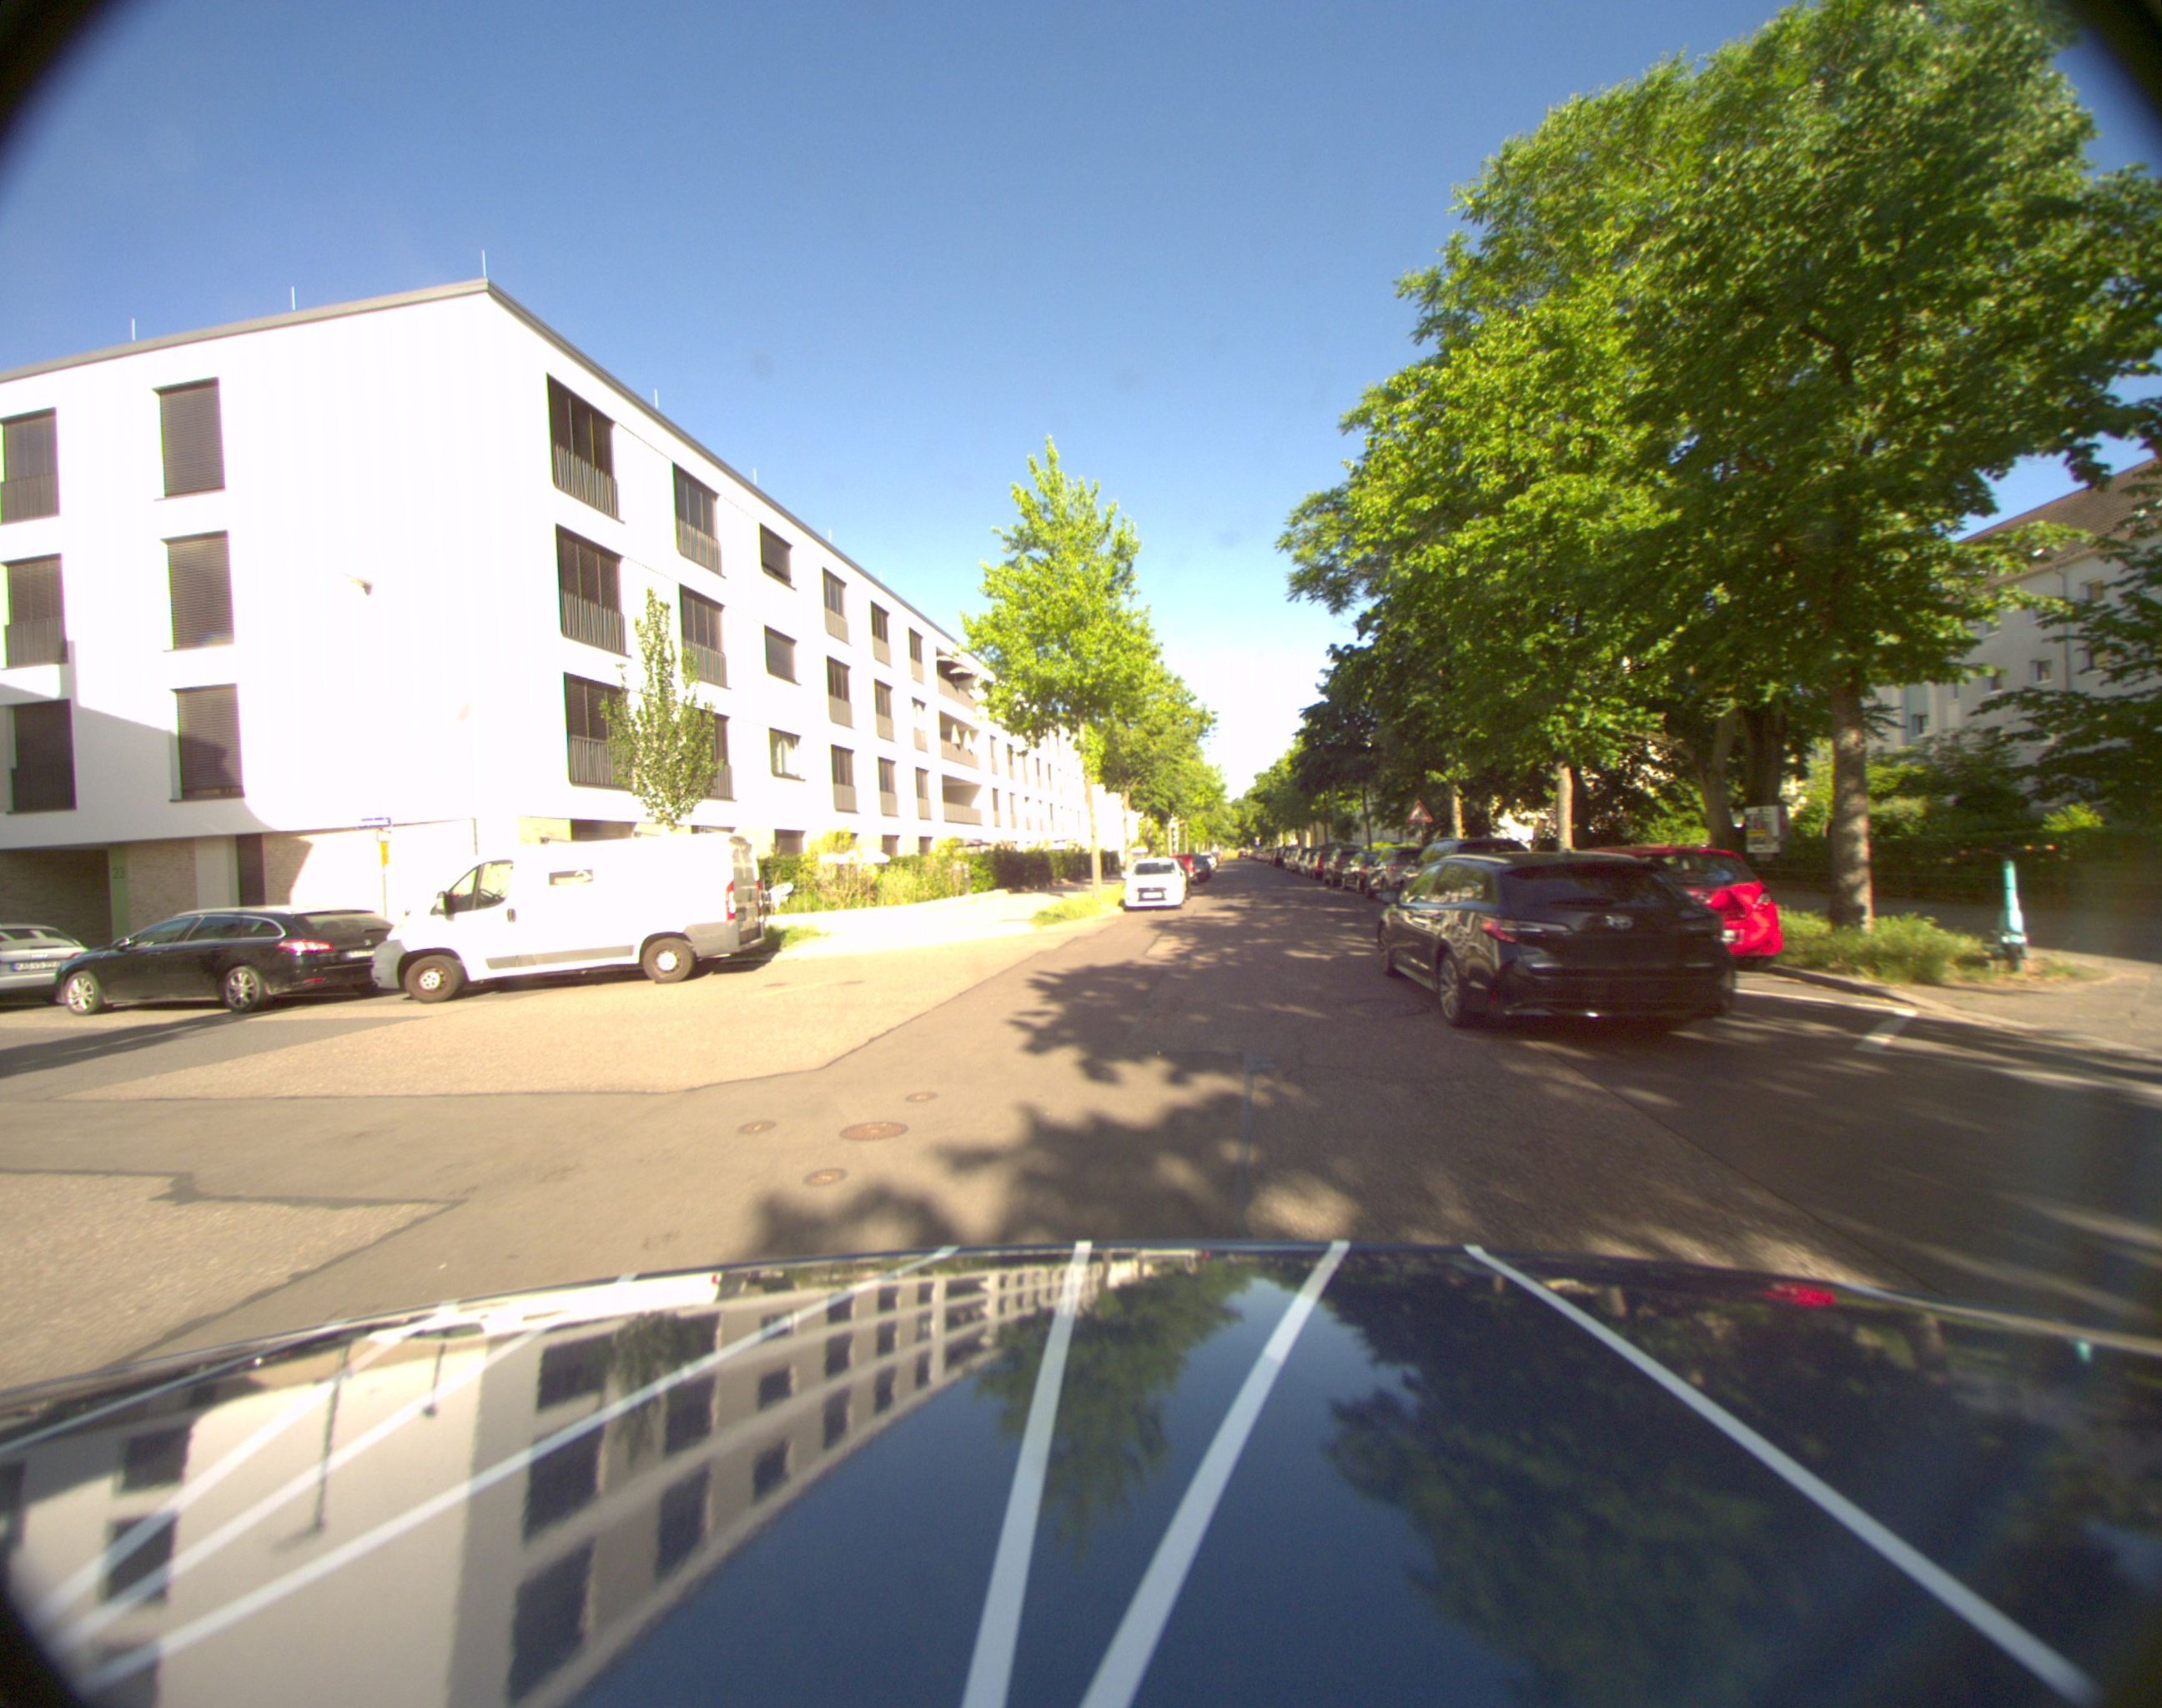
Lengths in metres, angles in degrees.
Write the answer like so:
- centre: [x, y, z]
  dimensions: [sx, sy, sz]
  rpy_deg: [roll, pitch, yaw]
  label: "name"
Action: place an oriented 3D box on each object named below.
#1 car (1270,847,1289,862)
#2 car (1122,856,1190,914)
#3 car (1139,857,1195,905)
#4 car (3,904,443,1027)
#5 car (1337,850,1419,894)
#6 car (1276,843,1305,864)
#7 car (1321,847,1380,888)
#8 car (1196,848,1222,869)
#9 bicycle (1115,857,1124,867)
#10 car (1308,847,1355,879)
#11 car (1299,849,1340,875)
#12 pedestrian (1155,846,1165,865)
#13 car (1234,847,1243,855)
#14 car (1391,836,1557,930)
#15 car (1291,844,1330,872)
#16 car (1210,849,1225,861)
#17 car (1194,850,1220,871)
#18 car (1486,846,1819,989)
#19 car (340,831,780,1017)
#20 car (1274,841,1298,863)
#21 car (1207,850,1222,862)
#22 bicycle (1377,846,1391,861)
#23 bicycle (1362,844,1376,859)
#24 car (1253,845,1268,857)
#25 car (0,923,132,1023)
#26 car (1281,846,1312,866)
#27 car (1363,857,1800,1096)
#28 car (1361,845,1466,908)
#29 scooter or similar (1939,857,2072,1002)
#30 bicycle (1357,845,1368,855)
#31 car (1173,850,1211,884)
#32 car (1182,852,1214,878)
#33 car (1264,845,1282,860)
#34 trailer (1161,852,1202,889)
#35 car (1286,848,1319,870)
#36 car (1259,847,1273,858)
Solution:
- centre: [20.885, 0.027, 80.058]
  dimensions: [1.778, 1.462, 4.067]
  rpy_deg: [0, 1, 11]
  label: "car"
- centre: [2.359, 0.886, 23.102]
  dimensions: [1.736, 1.478, 4.012]
  rpy_deg: [-3, 0, 9]
  label: "car"
- centre: [3.206, 0.915, 27.599]
  dimensions: [1.673, 1.442, 4.182]
  rpy_deg: [-5, 0, 10]
  label: "car"
- centre: [-12.823, 1.641, 11.515]
  dimensions: [4.937, 1.461, 2.049]
  rpy_deg: [-3, 0, 9]
  label: "car"
- centre: [10.313, 0.574, 26.709]
  dimensions: [1.788, 1.344, 4.484]
  rpy_deg: [-2, 0, 10]
  label: "car"
- centre: [17.702, -0.029, 64.350]
  dimensions: [1.797, 1.676, 4.529]
  rpy_deg: [-2, 0, 8]
  label: "car"
- centre: [11.224, 0.504, 31.846]
  dimensions: [1.709, 1.568, 4.485]
  rpy_deg: [-2, 0, 12]
  label: "car"
- centre: [11.555, 0.372, 68.188]
  dimensions: [1.900, 1.638, 4.866]
  rpy_deg: [-3, 0, 13]
  label: "car"
- centre: [3.603, 0.729, 71.336]
  dimensions: [0.564, 0.889, 1.611]
  rpy_deg: [-3, 0, 12]
  label: "bicycle"
- centre: [12.693, 0.424, 38.771]
  dimensions: [1.657, 1.496, 4.071]
  rpy_deg: [-2, 0, 10]
  label: "car"
- centre: [13.551, 0.419, 43.439]
  dimensions: [1.657, 1.365, 4.192]
  rpy_deg: [-2, 0, 10]
  label: "car"
- centre: [8.859, 0.156, 85.360]
  dimensions: [0.907, 2.002, 1.007]
  rpy_deg: [-2, 1, 11]
  label: "pedestrian"
- centre: [30.405, -0.515, 146.670]
  dimensions: [1.664, 1.456, 3.450]
  rpy_deg: [-2, 0, 12]
  label: "car"
- centre: [8.136, 0.523, 16.256]
  dimensions: [1.771, 1.678, 4.817]
  rpy_deg: [-2, 0, 10]
  label: "car"
- centre: [14.607, 0.237, 48.612]
  dimensions: [1.845, 1.647, 5.091]
  rpy_deg: [-2, 0, 11]
  label: "car"
- centre: [17.861, 0.160, 99.403]
  dimensions: [1.669, 1.456, 3.539]
  rpy_deg: [-2, 0, 12]
  label: "car"
- centre: [10.312, 0.493, 62.379]
  dimensions: [1.784, 1.509, 4.690]
  rpy_deg: [-3, 0, 7]
  label: "car"
- centre: [7.093, 0.675, 10.078]
  dimensions: [1.859, 1.461, 4.185]
  rpy_deg: [-3, 0, 11]
  label: "car"
- centre: [-7.606, 0.931, 11.783]
  dimensions: [5.058, 2.292, 2.232]
  rpy_deg: [-3, 0, -12]
  label: "car"
- centre: [18.662, -0.210, 69.298]
  dimensions: [1.796, 1.839, 4.870]
  rpy_deg: [-2, 0, 11]
  label: "car"
- centre: [16.687, 0.214, 94.758]
  dimensions: [1.669, 1.456, 3.539]
  rpy_deg: [-2, 0, 12]
  label: "car"
- centre: [22.561, -0.065, 56.557]
  dimensions: [0.573, 1.055, 1.935]
  rpy_deg: [-3, 0, 12]
  label: "bicycle"
- centre: [23.917, -0.220, 63.078]
  dimensions: [0.596, 1.183, 2.262]
  rpy_deg: [-2, 0, 10]
  label: "bicycle"
- centre: [28.708, -0.555, 121.766]
  dimensions: [1.889, 1.797, 3.917]
  rpy_deg: [-3, 0, 7]
  label: "car"
- centre: [-18.832, 1.989, 12.454]
  dimensions: [4.936, 1.420, 1.963]
  rpy_deg: [-3, -1, 10]
  label: "car"
- centre: [16.623, 0.120, 58.747]
  dimensions: [1.796, 1.443, 4.492]
  rpy_deg: [-2, 0, 10]
  label: "car"
- centre: [4.013, 0.803, 7.088]
  dimensions: [1.812, 1.437, 4.369]
  rpy_deg: [-1, 1, 10]
  label: "car"
- centre: [9.200, 0.560, 21.389]
  dimensions: [1.772, 1.522, 4.423]
  rpy_deg: [-3, 0, 12]
  label: "car"
- centre: [9.043, 0.681, 7.483]
  dimensions: [0.555, 1.228, 1.517]
  rpy_deg: [-2, 1, 41]
  label: "scooter or similar"
- centre: [25.541, -0.384, 68.965]
  dimensions: [0.596, 0.911, 1.905]
  rpy_deg: [-2, 0, 10]
  label: "bicycle"
- centre: [6.244, 0.691, 42.371]
  dimensions: [1.795, 1.633, 4.822]
  rpy_deg: [-5, 0, 11]
  label: "car"
- centre: [7.508, 0.673, 48.423]
  dimensions: [1.721, 1.507, 4.348]
  rpy_deg: [-3, 0, 12]
  label: "car"
- centre: [23.132, -0.231, 91.628]
  dimensions: [1.862, 1.718, 4.003]
  rpy_deg: [-1, 0, 12]
  label: "car"
- centre: [5.044, 0.789, 37.786]
  dimensions: [1.577, 1.569, 3.195]
  rpy_deg: [-5, 0, 13]
  label: "trailer"
- centre: [15.664, 0.311, 53.815]
  dimensions: [1.709, 1.472, 4.493]
  rpy_deg: [-2, 0, 10]
  label: "car"
- centre: [25.602, -0.173, 105.105]
  dimensions: [1.604, 1.382, 3.815]
  rpy_deg: [-3, 0, 11]
  label: "car"
